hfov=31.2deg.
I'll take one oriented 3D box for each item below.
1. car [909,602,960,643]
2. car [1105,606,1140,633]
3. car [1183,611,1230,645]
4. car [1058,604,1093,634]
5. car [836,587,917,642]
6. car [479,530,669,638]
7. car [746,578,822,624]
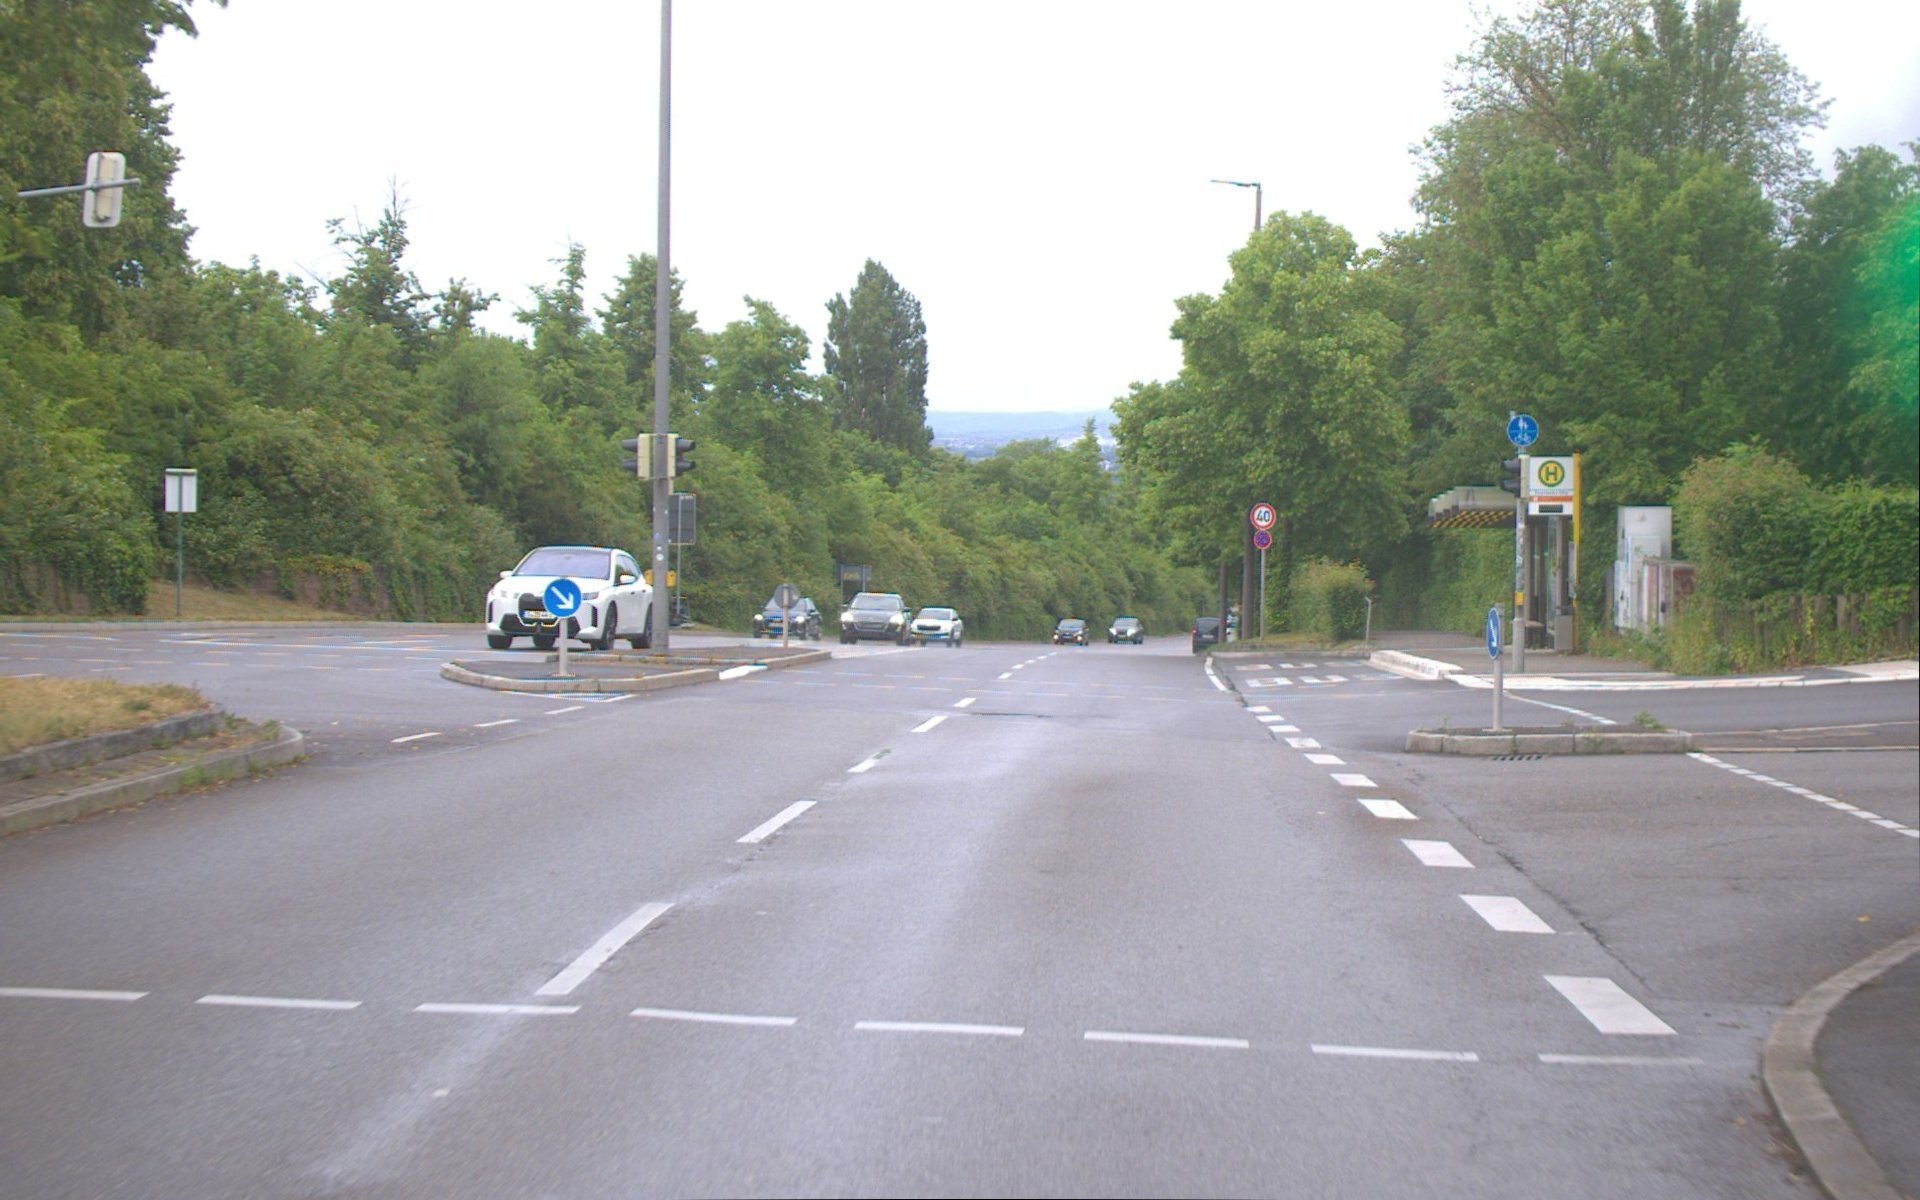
[{"bbox_3d":[-1.076,0.946,146.528,1.724,1.585,3.999,2,1,6],"label":"car"},{"bbox_3d":[10.388,1.276,219.134,1.865,1.584,3.891,4,0,7],"label":"car"},{"bbox_3d":[12.661,1.414,176.325,1.946,1.585,3.926,2,1,10],"label":"car"},{"bbox_3d":[6.606,1.091,196.333,1.725,1.560,3.892,4,0,4],"label":"car"},{"bbox_3d":[-2.342,0.394,97.324,1.778,1.467,4.644,2,0,5],"label":"car"},{"bbox_3d":[-6.258,-0.274,56.288,1.945,1.630,5.004,2,1,7],"label":"car"},{"bbox_3d":[-5.889,0.026,115.410,1.820,1.433,4.453,2,0,6],"label":"car"}]
